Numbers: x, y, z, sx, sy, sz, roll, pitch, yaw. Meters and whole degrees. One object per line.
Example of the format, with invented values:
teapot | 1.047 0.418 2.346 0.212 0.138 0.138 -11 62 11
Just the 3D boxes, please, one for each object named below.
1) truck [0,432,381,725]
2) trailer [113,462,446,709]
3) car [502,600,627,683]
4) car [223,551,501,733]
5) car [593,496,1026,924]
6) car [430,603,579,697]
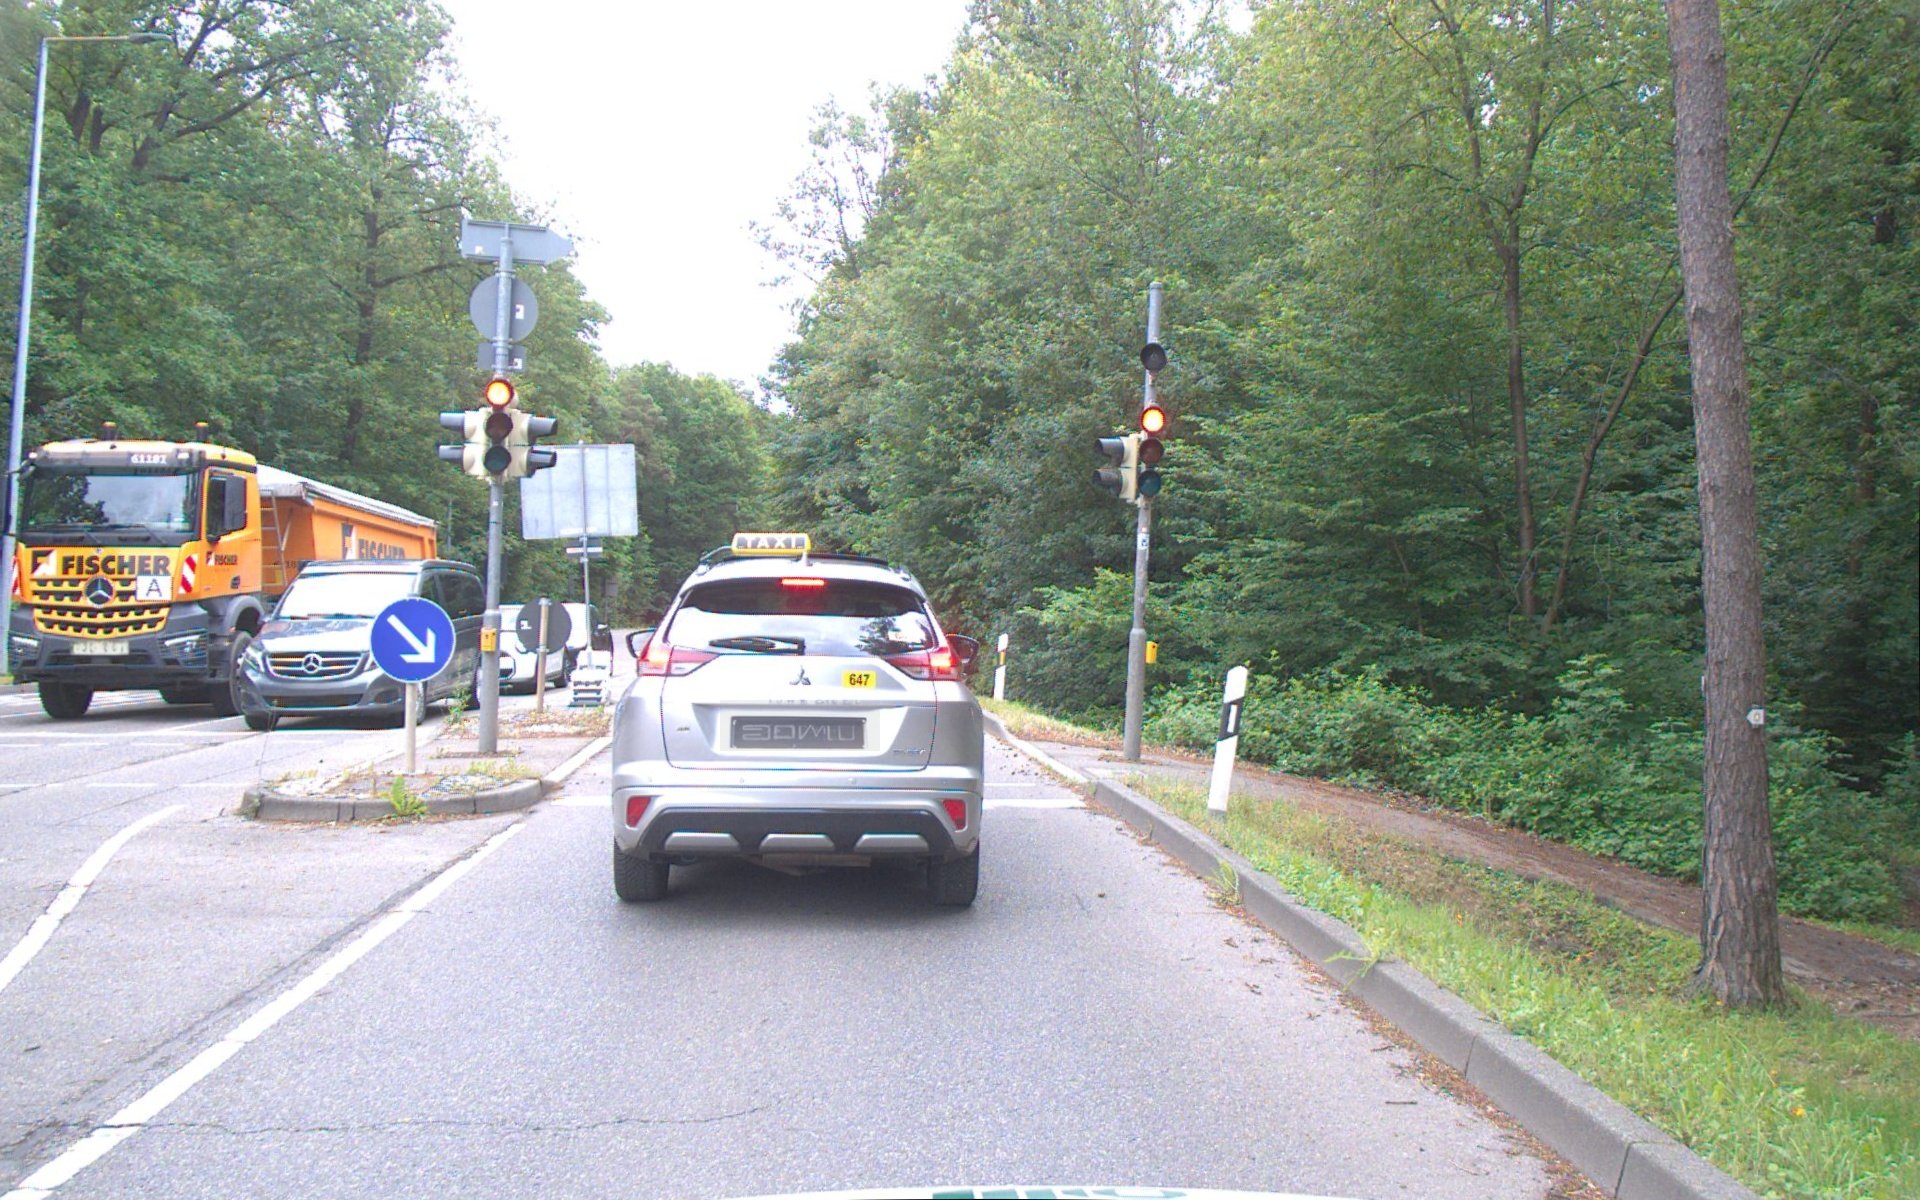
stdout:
truck | -10.243 -0.205 22.767 2.686 3.376 7.150 0 -1 -6
trailer | -10.677 -0.140 27.045 2.686 3.376 8.557 0 -1 -6
car | -7.915 0.800 33.378 1.775 1.534 3.719 -1 0 -3
car | -7.092 0.465 20.186 1.954 1.927 4.834 -1 -1 -5
car | -0.842 0.482 9.125 1.811 1.811 3.995 2 0 -6
car | -7.461 0.773 27.405 1.580 1.344 3.719 -1 1 -3
